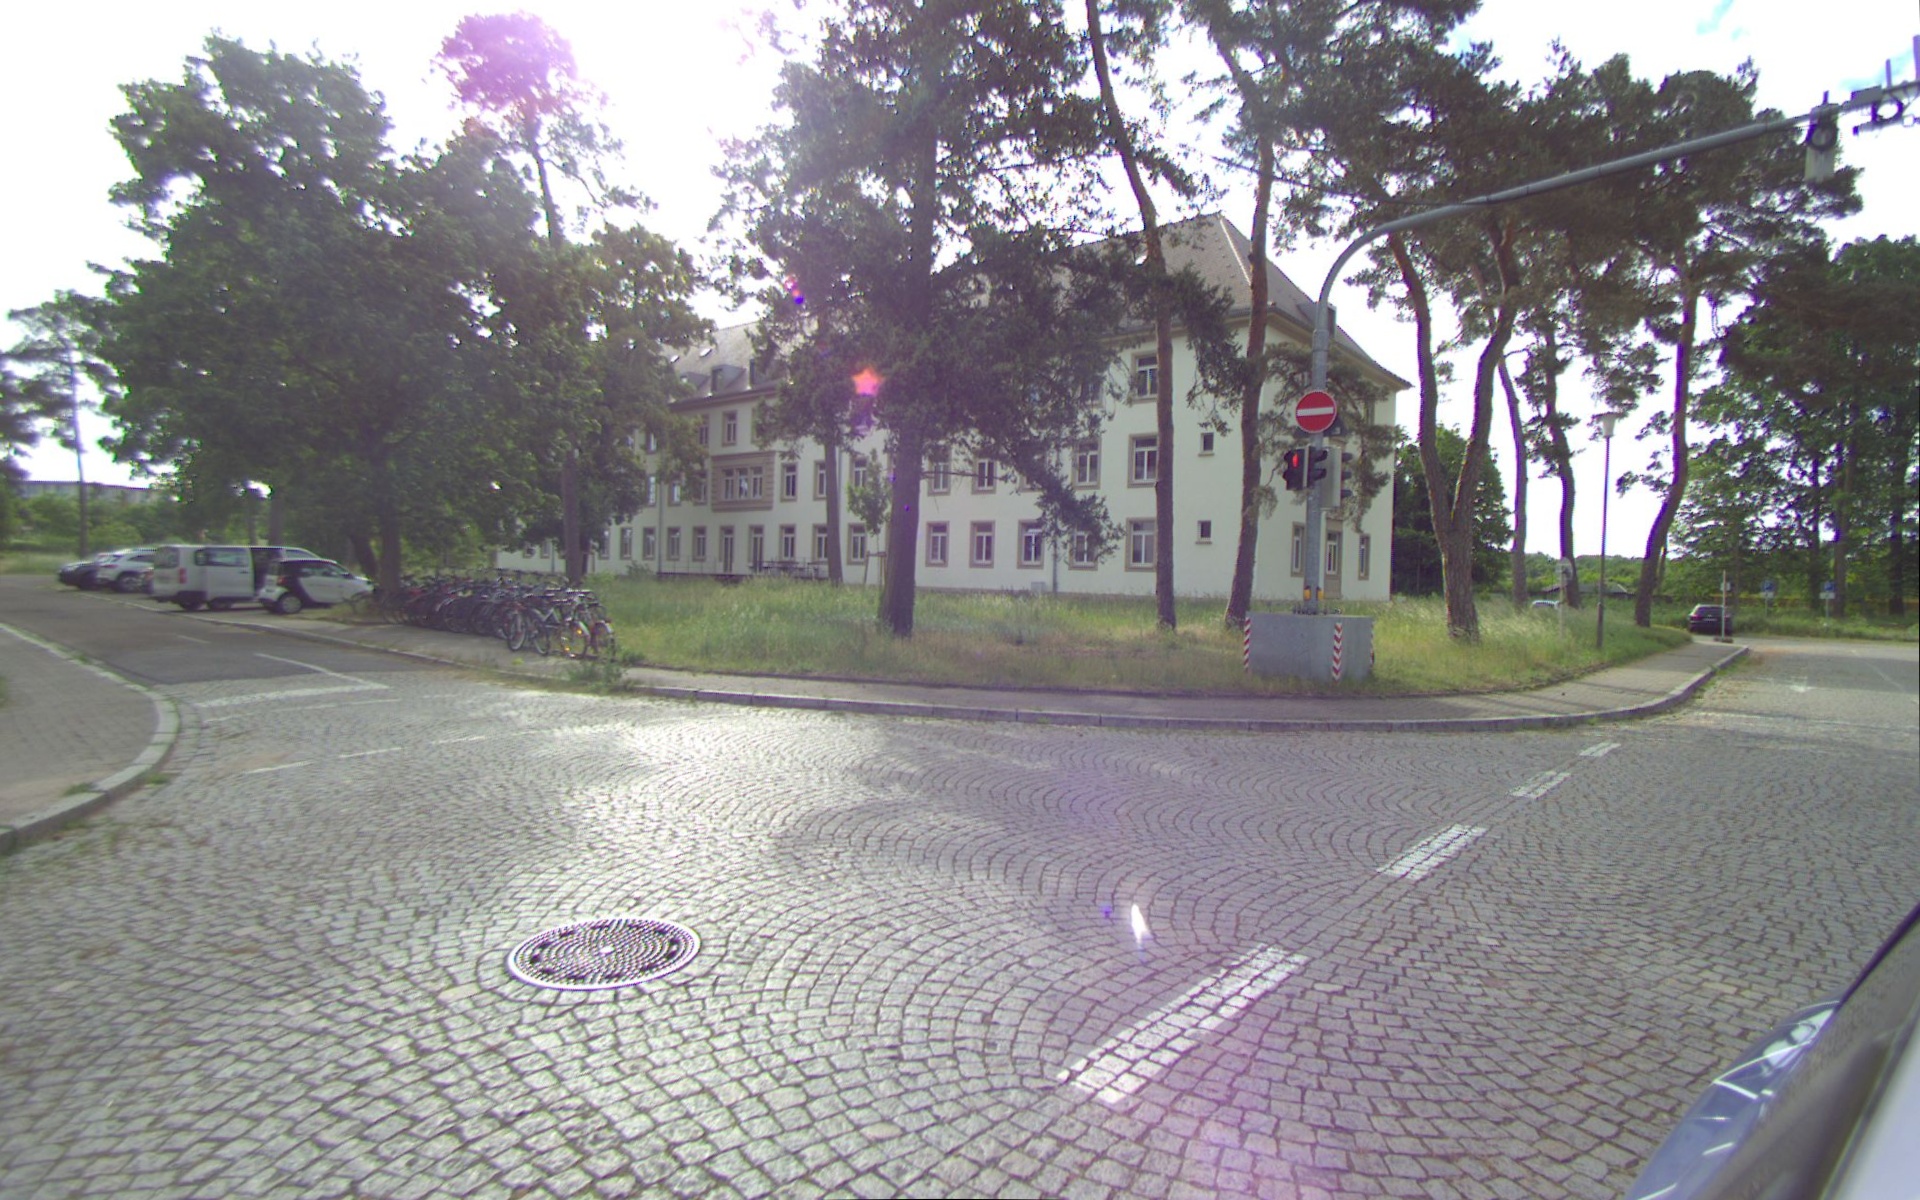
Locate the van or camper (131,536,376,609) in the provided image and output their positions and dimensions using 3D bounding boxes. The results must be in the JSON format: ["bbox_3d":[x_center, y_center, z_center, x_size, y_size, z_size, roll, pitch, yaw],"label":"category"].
[{"bbox_3d":[-21.080,-0.804,30.536,2.217,1.981,5.704,2,1,28],"label":"van or camper"}]

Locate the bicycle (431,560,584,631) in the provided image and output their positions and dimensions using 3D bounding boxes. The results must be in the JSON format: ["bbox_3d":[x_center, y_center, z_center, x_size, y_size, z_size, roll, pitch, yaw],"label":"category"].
[{"bbox_3d":[-9.366,-0.100,21.072,0.946,1.389,2.771,2,1,40],"label":"bicycle"}]

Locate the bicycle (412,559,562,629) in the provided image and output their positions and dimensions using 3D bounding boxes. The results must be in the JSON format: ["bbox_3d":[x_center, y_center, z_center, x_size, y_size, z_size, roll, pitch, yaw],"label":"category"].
[{"bbox_3d":[-10.055,-0.127,21.635,0.946,1.389,2.771,2,1,40],"label":"bicycle"}]

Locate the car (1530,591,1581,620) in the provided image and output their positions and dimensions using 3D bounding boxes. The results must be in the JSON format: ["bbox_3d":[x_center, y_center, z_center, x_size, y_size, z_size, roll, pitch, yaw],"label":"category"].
[{"bbox_3d":[33.550,0.290,56.953,1.767,1.552,3.638,3,2,42],"label":"car"}]

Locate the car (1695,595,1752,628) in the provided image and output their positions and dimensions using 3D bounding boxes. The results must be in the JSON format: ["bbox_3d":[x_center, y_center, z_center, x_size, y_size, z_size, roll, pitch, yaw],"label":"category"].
[{"bbox_3d":[38.779,0.544,51.367,1.993,1.552,3.939,3,2,42],"label":"car"}]

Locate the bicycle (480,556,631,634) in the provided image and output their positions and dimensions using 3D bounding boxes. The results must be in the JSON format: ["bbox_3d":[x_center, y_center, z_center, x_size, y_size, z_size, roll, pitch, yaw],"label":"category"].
[{"bbox_3d":[-7.709,-0.101,19.430,0.870,1.384,2.590,2,1,40],"label":"bicycle"}]

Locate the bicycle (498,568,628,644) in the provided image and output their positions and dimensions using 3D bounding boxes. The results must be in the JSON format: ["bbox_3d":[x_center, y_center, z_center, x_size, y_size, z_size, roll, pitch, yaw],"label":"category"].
[{"bbox_3d":[-7.377,0.091,18.888,0.870,1.322,2.089,2,1,40],"label":"bicycle"}]

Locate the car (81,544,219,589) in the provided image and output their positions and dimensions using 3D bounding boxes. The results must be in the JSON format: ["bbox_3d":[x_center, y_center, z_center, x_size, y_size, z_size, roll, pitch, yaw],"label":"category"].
[{"bbox_3d":[-31.559,-1.282,39.516,1.695,1.620,3.945,2,2,38],"label":"car"}]

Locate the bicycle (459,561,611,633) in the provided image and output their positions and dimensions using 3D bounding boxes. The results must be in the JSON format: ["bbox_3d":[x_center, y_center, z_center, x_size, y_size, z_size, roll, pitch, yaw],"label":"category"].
[{"bbox_3d":[-8.757,-0.077,20.968,0.946,1.389,2.771,2,1,40],"label":"bicycle"}]

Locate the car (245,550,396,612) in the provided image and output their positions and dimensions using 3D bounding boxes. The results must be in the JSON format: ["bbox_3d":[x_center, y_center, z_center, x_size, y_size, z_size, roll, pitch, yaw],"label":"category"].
[{"bbox_3d":[-18.230,-0.519,28.913,1.929,1.641,3.188,2,0,40],"label":"car"}]

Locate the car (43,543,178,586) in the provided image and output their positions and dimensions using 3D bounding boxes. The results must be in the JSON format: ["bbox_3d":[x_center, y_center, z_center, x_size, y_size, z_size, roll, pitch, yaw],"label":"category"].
[{"bbox_3d":[-34.374,-1.412,41.029,1.695,1.620,3.945,2,2,38],"label":"car"}]

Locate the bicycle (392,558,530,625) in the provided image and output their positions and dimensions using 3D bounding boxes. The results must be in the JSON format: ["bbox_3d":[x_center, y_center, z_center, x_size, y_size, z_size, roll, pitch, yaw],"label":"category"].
[{"bbox_3d":[-10.870,-0.187,22.154,0.946,1.389,2.540,2,1,39],"label":"bicycle"}]

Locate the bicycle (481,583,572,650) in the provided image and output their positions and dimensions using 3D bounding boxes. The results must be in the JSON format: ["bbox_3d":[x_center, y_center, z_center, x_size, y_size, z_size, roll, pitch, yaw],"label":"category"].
[{"bbox_3d":[-7.303,0.255,17.003,0.718,1.009,1.974,1,1,-44],"label":"bicycle"}]

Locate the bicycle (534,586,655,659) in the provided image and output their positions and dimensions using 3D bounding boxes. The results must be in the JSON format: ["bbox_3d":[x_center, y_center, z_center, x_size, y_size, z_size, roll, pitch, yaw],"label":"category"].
[{"bbox_3d":[-5.686,0.317,15.690,1.970,1.009,0.890,3,1,40],"label":"bicycle"}]

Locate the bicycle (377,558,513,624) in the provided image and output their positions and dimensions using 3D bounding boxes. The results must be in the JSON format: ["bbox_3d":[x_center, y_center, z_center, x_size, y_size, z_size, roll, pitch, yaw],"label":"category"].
[{"bbox_3d":[-11.509,-0.212,22.694,0.946,1.389,2.540,2,1,39],"label":"bicycle"}]

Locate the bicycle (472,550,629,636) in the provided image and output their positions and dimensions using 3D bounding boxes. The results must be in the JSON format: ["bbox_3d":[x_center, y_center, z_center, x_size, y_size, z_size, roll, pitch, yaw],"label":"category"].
[{"bbox_3d":[-8.139,-0.149,20.261,0.946,1.603,2.771,2,1,40],"label":"bicycle"}]

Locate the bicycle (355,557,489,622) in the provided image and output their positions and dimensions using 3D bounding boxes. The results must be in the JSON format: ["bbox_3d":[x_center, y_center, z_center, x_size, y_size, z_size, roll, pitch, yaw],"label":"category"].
[{"bbox_3d":[-12.242,-0.241,23.119,0.946,1.389,2.540,2,1,39],"label":"bicycle"}]

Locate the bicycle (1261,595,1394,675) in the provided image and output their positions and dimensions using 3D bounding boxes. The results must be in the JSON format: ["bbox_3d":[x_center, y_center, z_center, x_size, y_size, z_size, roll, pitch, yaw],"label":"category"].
[{"bbox_3d":[5.644,0.512,15.621,1.824,1.075,0.638,2,5,38],"label":"bicycle"}]
